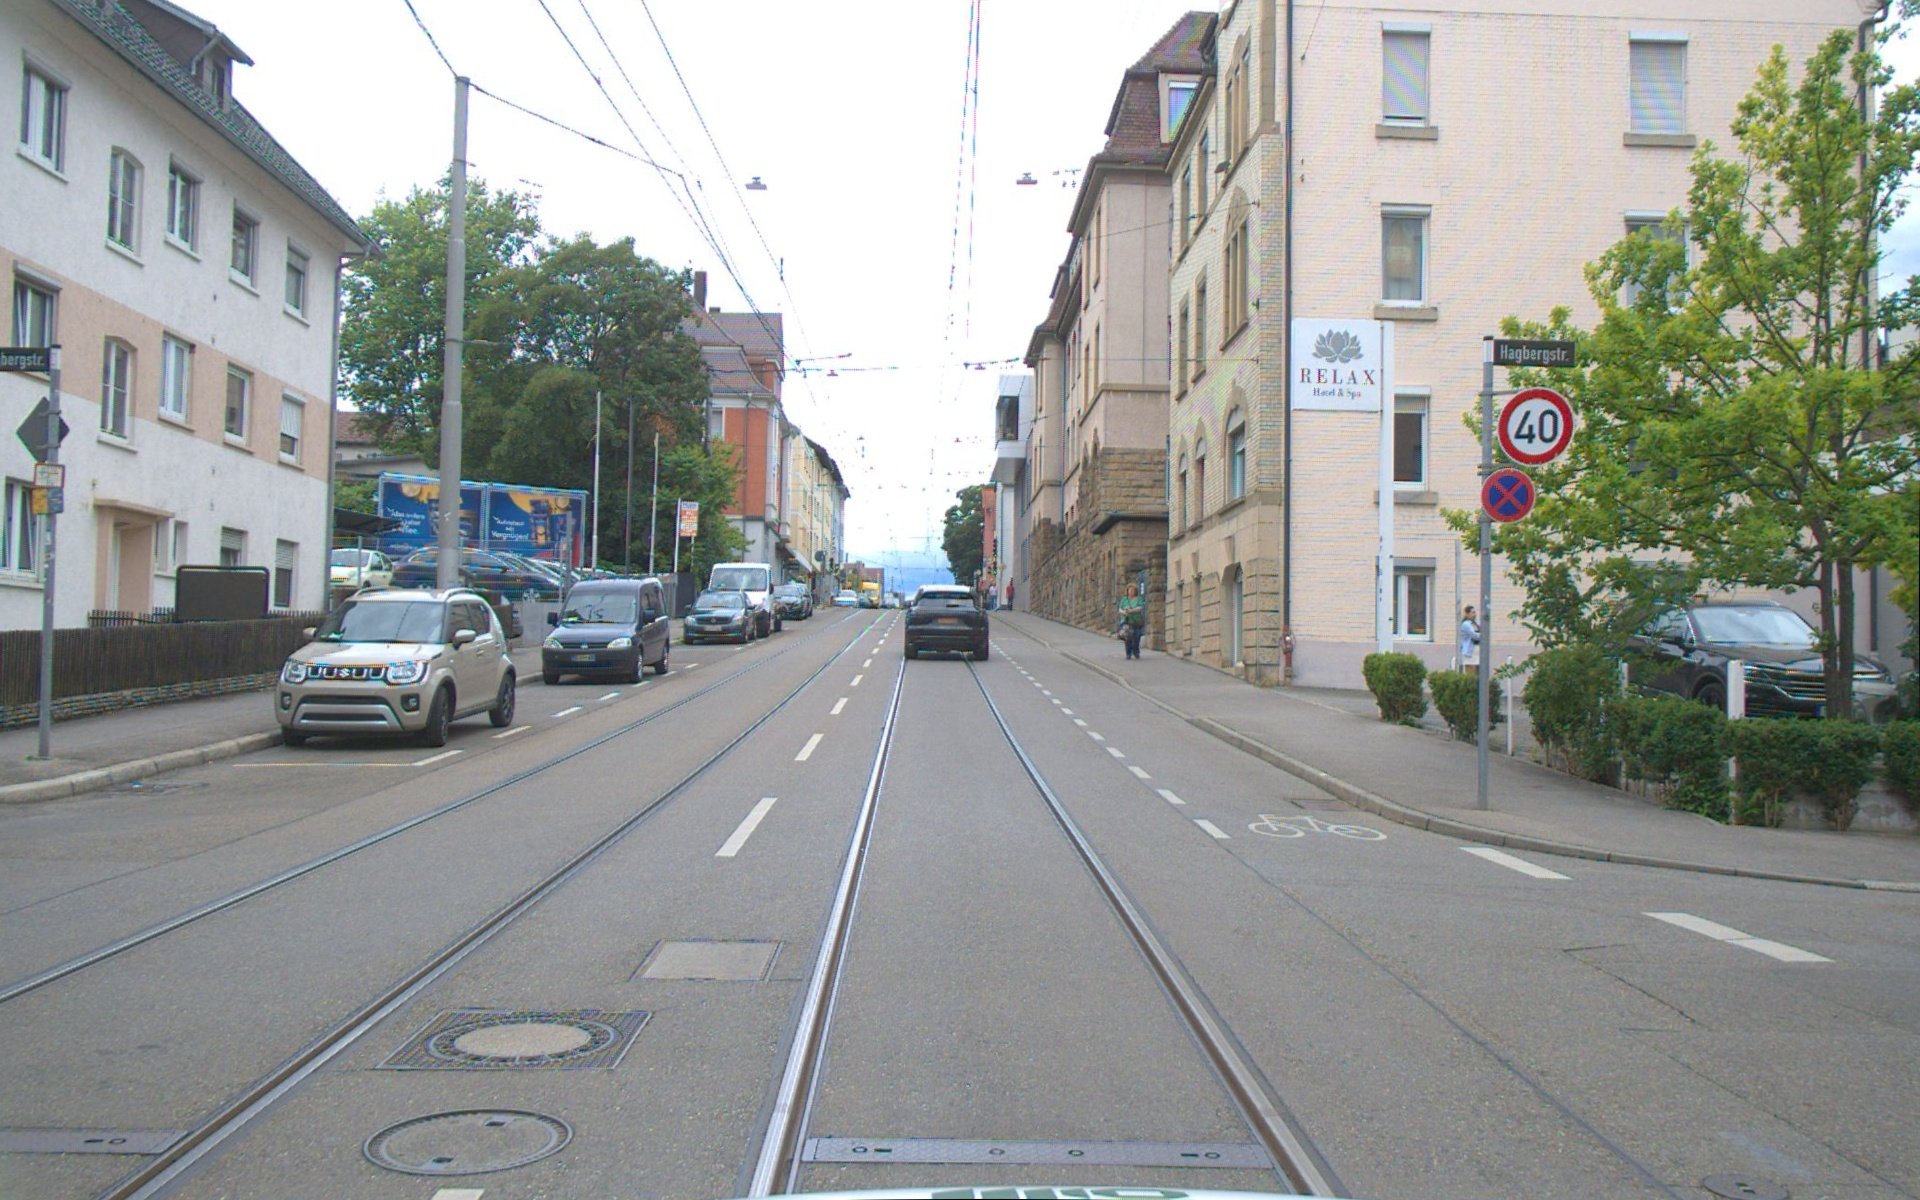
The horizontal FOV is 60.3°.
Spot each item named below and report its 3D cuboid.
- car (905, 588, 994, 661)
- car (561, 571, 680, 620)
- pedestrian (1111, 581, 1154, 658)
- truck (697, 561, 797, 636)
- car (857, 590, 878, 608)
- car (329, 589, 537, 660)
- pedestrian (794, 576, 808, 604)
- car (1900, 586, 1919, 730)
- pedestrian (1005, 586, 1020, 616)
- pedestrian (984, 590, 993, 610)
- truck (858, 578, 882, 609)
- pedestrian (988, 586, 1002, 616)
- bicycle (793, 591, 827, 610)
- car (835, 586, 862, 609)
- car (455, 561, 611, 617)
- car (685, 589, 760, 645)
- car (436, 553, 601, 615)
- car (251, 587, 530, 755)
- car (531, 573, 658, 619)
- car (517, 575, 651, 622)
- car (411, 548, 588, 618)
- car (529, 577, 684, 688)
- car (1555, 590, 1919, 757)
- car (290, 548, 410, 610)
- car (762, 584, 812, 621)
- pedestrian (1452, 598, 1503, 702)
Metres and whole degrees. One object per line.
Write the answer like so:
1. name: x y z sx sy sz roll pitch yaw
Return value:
1. car: -0.257 0.529 38.968 1.953 1.590 4.289 1 1 -1
2. car: -11.741 -0.163 57.176 3.896 1.578 1.681 1 0 -16
3. pedestrian: 3.943 0.441 37.829 0.853 1.715 0.663 -1 0 -3
4. truck: -6.829 -0.092 54.085 2.234 2.226 8.024 1 1 0
5. car: -8.648 -0.085 154.646 1.817 1.635 4.296 1 1 -2
6. car: -12.414 0.562 39.156 4.252 1.369 1.860 -3 1 -2
7. pedestrian: -10.200 -0.630 106.089 0.759 1.807 0.650 1 0 0
8. car: 14.089 0.827 20.555 1.954 1.945 4.701 1 0 -3
9. pedestrian: 2.990 0.045 94.098 0.775 1.696 0.799 1 0 1
10. pedestrian: 2.491 -0.022 144.337 0.775 1.696 0.799 1 0 1
11. truck: -9.517 -0.675 175.551 2.256 3.089 9.031 1 0 -2
12. pedestrian: 1.970 0.038 94.101 0.775 1.696 0.799 1 0 1
13. bicycle: -8.386 0.033 92.538 1.872 1.017 0.479 1 0 -1
14. car: -8.233 -0.220 122.220 1.817 1.635 4.296 1 1 -2
15. car: -12.059 -0.316 46.918 3.978 1.470 1.687 1 0 -2
16. car: -6.695 0.446 47.035 1.663 1.458 4.479 -1 1 -3
17. car: -11.848 -0.428 44.573 3.978 1.550 1.738 1 0 -2
18. car: -6.016 0.674 17.950 1.662 1.583 3.850 1 1 0
19. car: -11.979 -0.136 54.365 3.798 1.381 1.687 1 0 -2
20. car: -11.743 -0.048 51.808 3.798 1.381 1.687 1 0 -2
21. car: -11.727 -0.433 42.293 3.979 1.579 1.687 3 0 -2
22. car: -6.079 0.499 28.971 1.708 1.766 4.519 -1 1 0
23. car: 9.264 0.773 20.128 1.954 1.712 5.092 1 0 -3
24. car: -15.806 -0.544 43.054 1.648 1.520 3.889 1 1 0
25. car: -7.206 0.078 69.277 1.677 1.472 4.289 1 1 -1
26. pedestrian: 8.258 0.788 26.403 0.547 1.610 0.685 1 0 -1
